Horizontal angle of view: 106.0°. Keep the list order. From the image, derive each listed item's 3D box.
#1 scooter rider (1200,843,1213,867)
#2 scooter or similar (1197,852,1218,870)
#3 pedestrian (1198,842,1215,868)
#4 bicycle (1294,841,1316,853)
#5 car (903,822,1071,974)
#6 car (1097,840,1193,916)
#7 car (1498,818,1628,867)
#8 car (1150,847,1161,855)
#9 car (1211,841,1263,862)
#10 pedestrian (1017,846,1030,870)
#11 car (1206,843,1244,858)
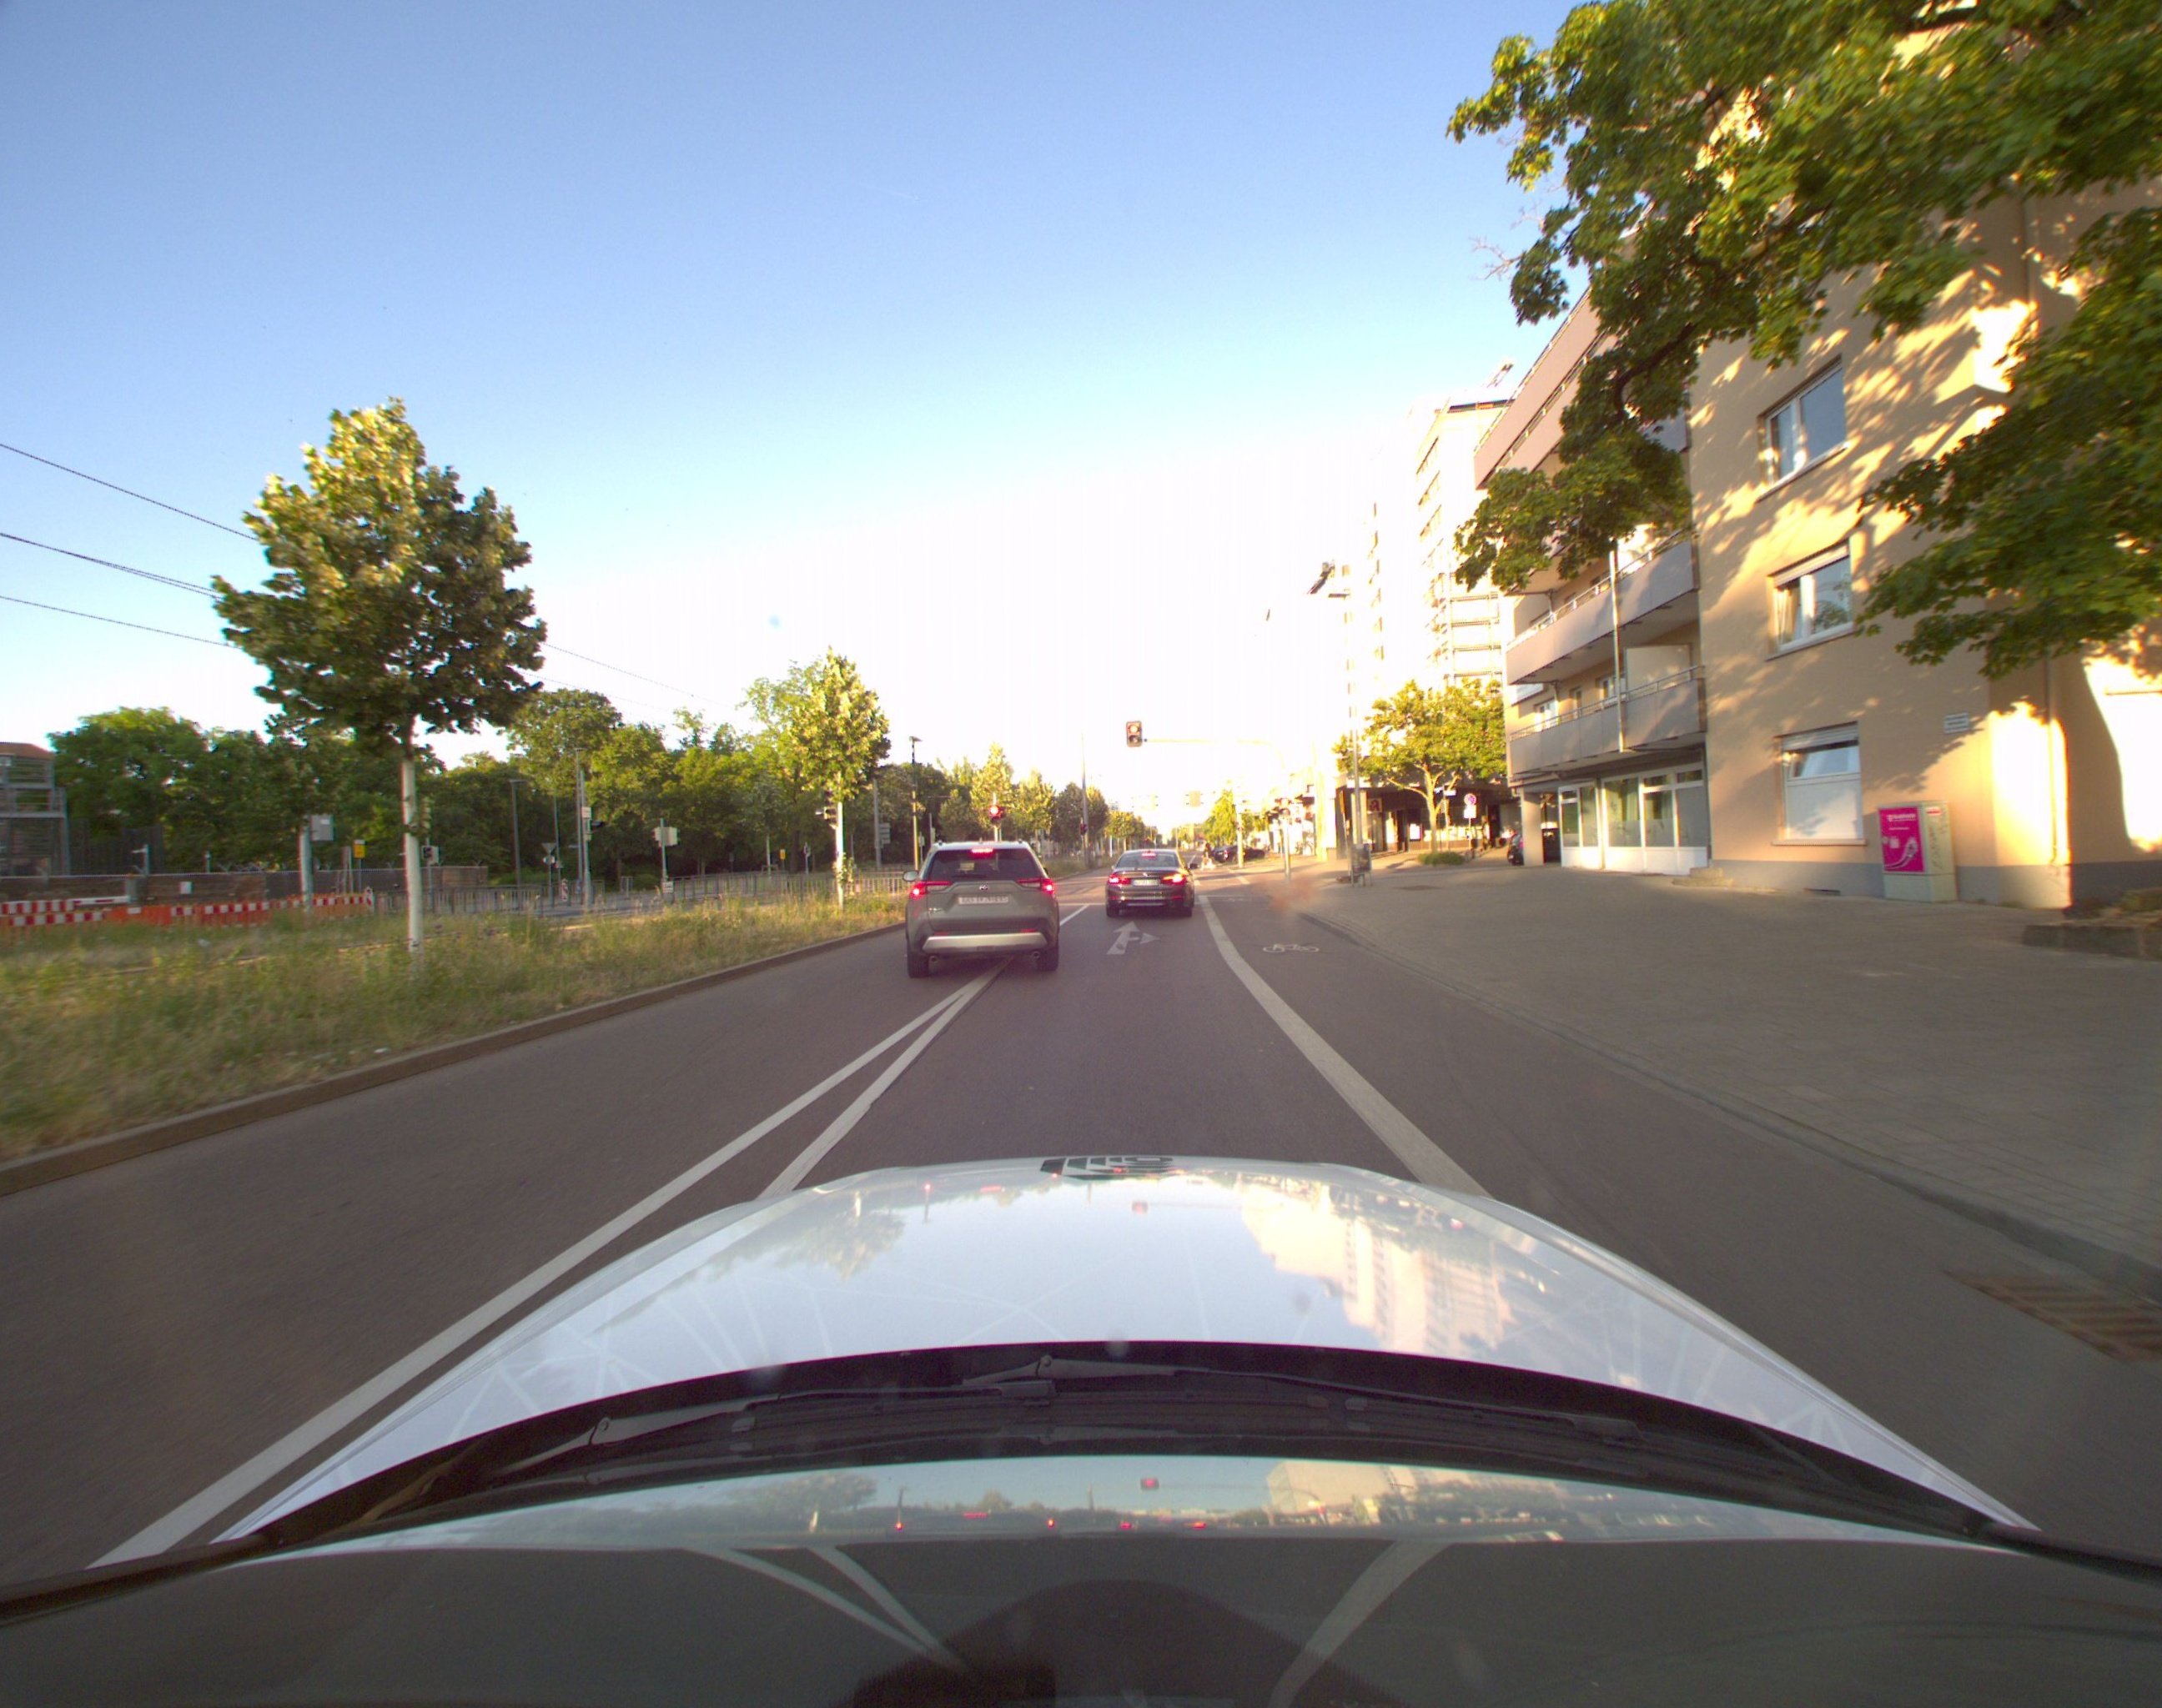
[{"bbox_3d":[8.375,0.067,54.270,0.816,1.514,0.654,-3,0,7],"label":"scooter rider"},{"bbox_3d":[8.394,0.465,54.238,1.322,1.153,0.515,-3,0,7],"label":"scooter or similar"},{"bbox_3d":[7.937,0.072,51.579,0.828,1.586,0.816,-3,0,20],"label":"pedestrian"},{"bbox_3d":[21.936,-0.648,79.865,2.003,1.149,0.693,0,-1,12],"label":"bicycle"},{"bbox_3d":[-1.354,0.440,11.344,1.854,1.658,4.257,-1,2,-8],"label":"car"},{"bbox_3d":[1.617,0.460,18.942,1.921,1.481,4.533,-1,2,8],"label":"car"},{"bbox_3d":[19.162,-0.426,32.530,4.015,1.585,1.710,-4,-3,10],"label":"car"},{"bbox_3d":[14.586,-0.610,158.992,1.969,1.433,4.852,-1,2,6],"label":"car"},{"bbox_3d":[13.143,-0.226,68.466,4.288,1.658,1.840,-2,2,-37],"label":"car"},{"bbox_3d":[-4.172,0.280,59.065,0.831,1.712,0.648,-3,0,5],"label":"pedestrian"},{"bbox_3d":[17.101,-0.402,96.595,4.280,1.658,1.843,-2,2,-29],"label":"car"}]
